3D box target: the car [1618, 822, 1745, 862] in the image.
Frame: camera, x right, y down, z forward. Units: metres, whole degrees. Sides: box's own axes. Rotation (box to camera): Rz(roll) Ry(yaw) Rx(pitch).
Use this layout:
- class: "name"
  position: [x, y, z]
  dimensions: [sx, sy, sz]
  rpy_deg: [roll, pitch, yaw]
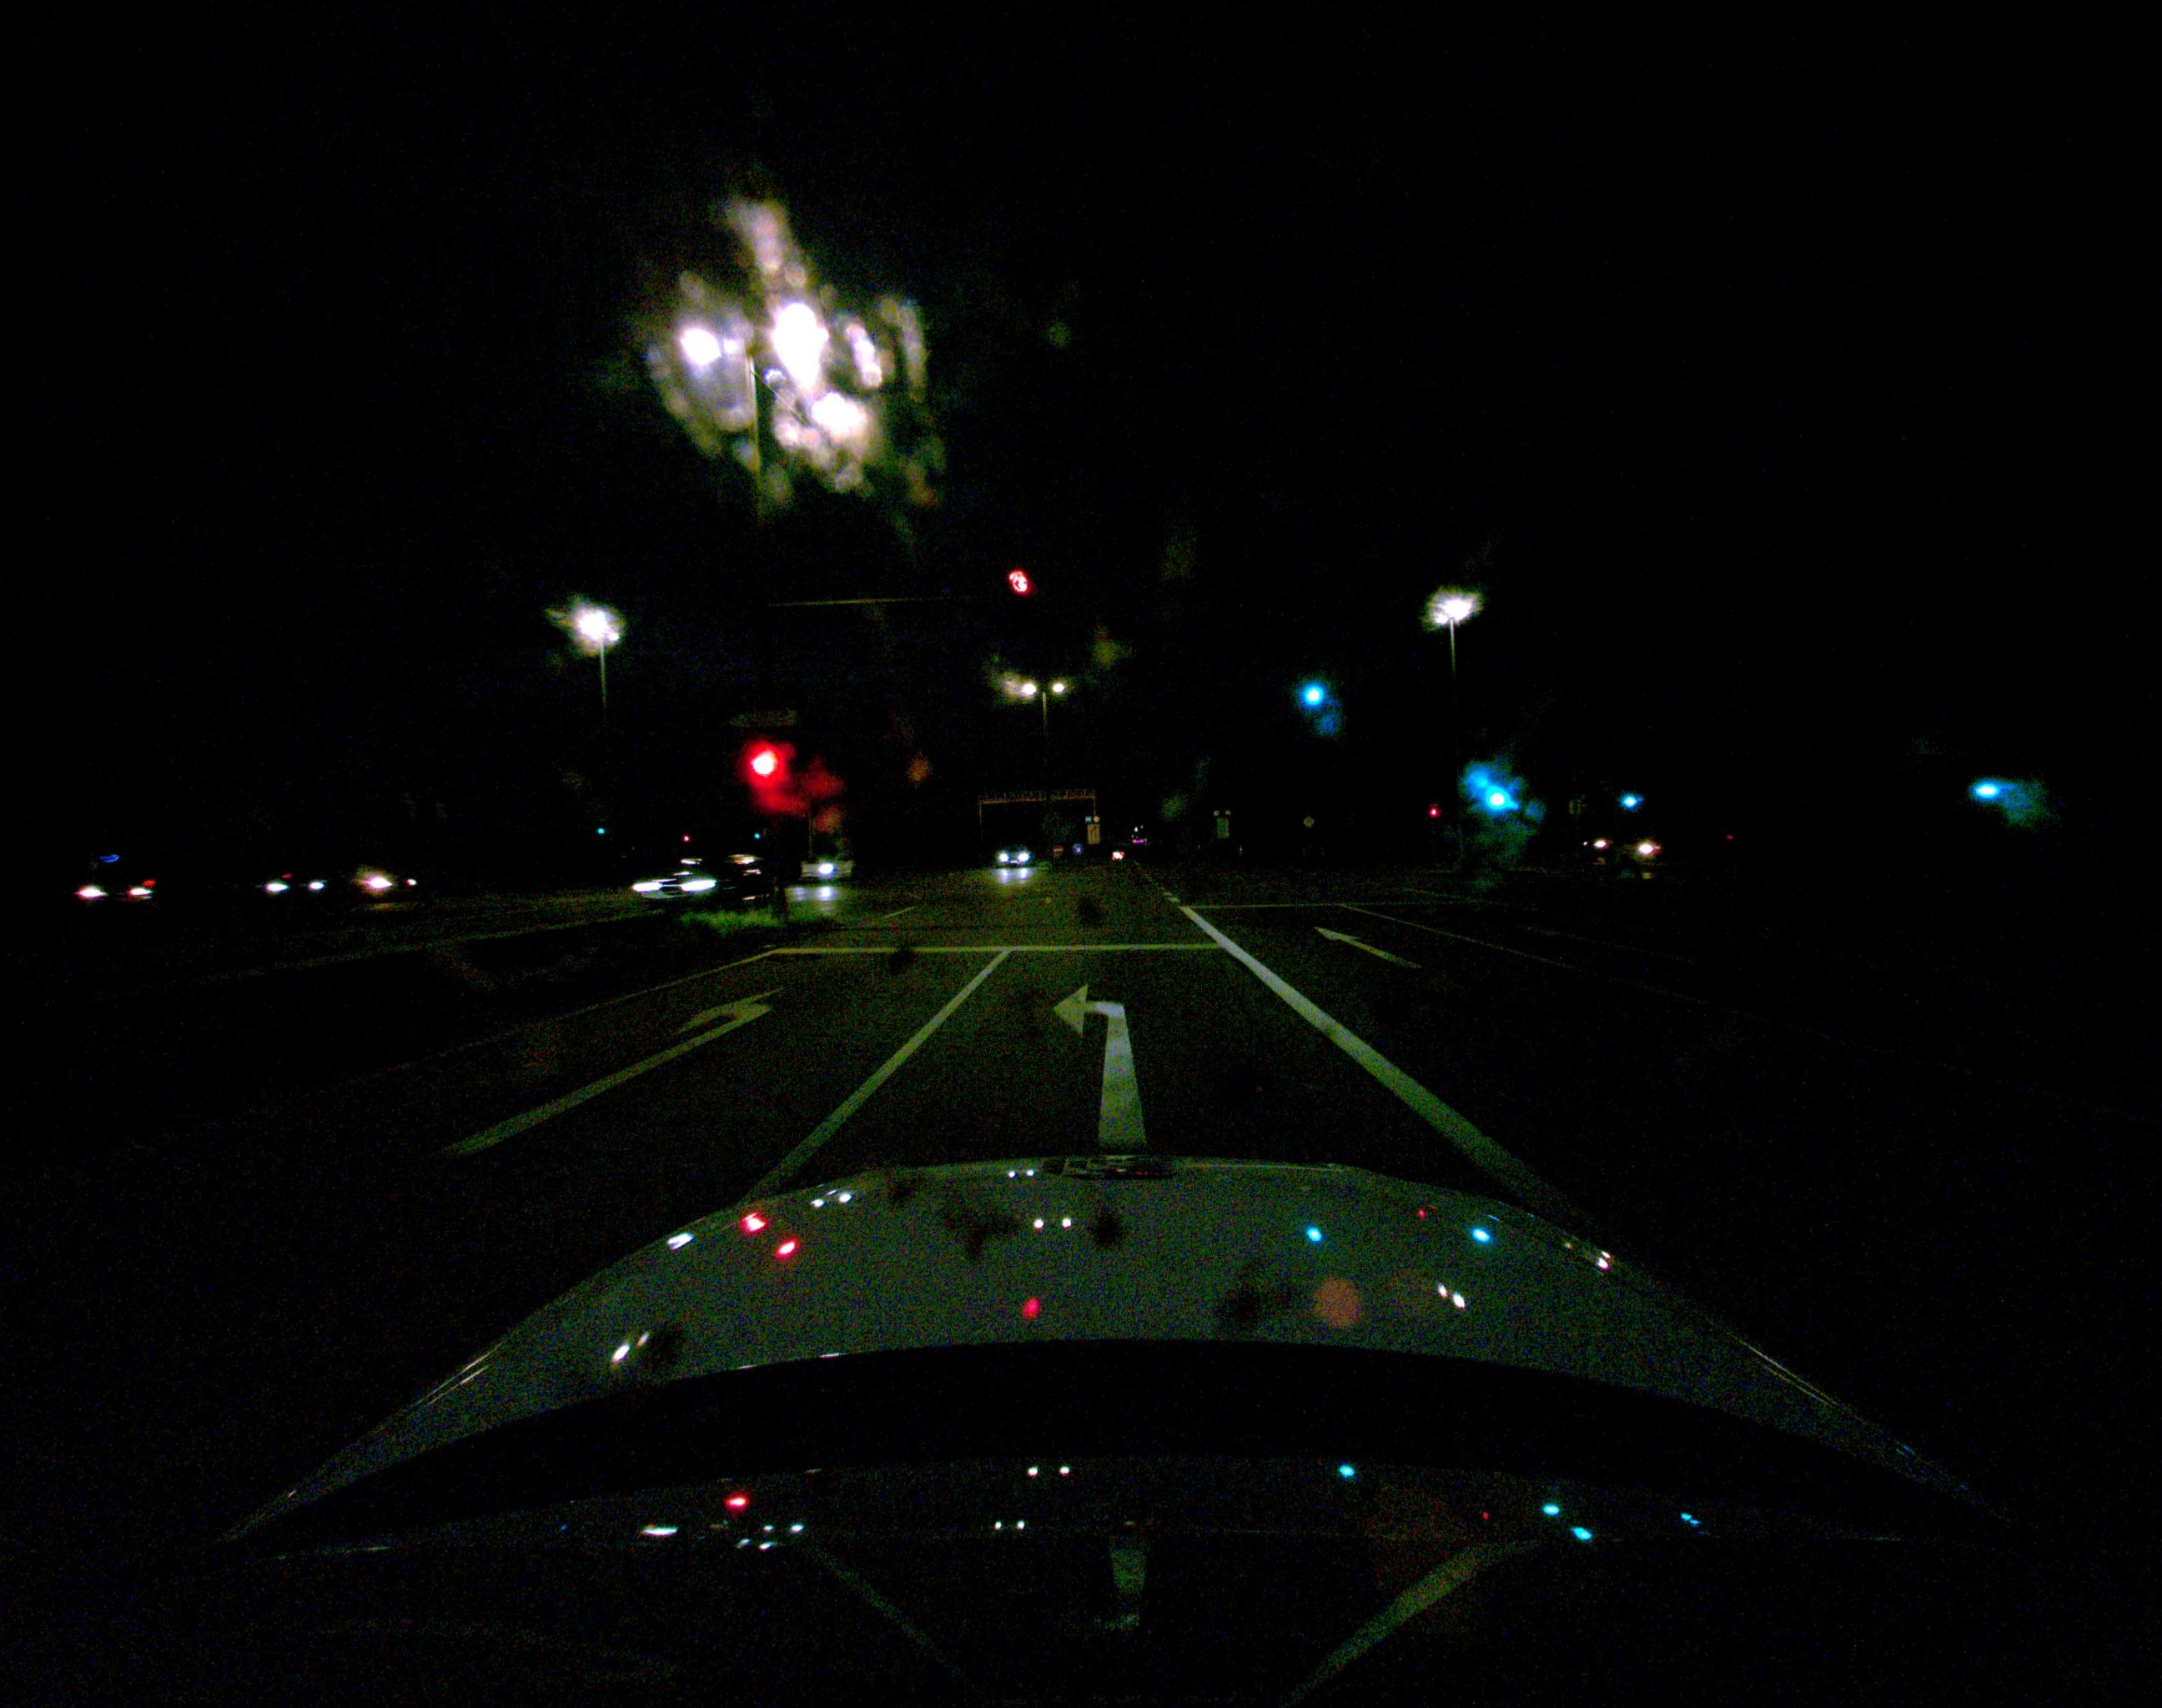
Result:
- class: "car"
  position: [25.904, -0.520, 35.215]
  dimensions: [4.062, 1.569, 2.001]
  rpy_deg: [-2, 1, -2]

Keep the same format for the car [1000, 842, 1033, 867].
- class: "car"
  position: [-4.624, 0.024, 59.029]
  dimensions: [1.986, 1.698, 4.001]
  rpy_deg: [-1, 1, 1]

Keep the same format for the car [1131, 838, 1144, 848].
- class: "car"
  position: [9.314, -1.782, 134.297]
  dimensions: [1.998, 1.611, 3.849]
  rpy_deg: [0, 0, 4]

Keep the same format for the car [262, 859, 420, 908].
- class: "car"
  position: [-26.702, 1.043, 29.486]
  dimensions: [4.029, 1.537, 1.728]
  rpy_deg: [-2, 0, -2]

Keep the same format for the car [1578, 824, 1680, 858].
- class: "car"
  position: [28.288, -0.690, 42.120]
  dimensions: [3.976, 1.569, 1.900]
  rpy_deg: [-2, 1, -2]

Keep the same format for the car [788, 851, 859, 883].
- class: "car"
  position: [-12.798, 0.597, 40.785]
  dimensions: [1.986, 1.425, 4.533]
  rpy_deg: [-1, 1, 1]

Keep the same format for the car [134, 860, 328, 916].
- class: "car"
  position: [-27.018, 1.054, 25.987]
  dimensions: [4.298, 1.537, 1.729]
  rpy_deg: [-2, 0, 0]

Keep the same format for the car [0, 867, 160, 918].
- class: "car"
  position: [-33.088, 1.251, 26.519]
  dimensions: [3.980, 1.473, 1.727]
  rpy_deg: [-2, 0, -5]

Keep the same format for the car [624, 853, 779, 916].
- class: "car"
  position: [-10.317, 0.759, 22.603]
  dimensions: [1.986, 1.481, 4.683]
  rpy_deg: [-1, 1, 1]
